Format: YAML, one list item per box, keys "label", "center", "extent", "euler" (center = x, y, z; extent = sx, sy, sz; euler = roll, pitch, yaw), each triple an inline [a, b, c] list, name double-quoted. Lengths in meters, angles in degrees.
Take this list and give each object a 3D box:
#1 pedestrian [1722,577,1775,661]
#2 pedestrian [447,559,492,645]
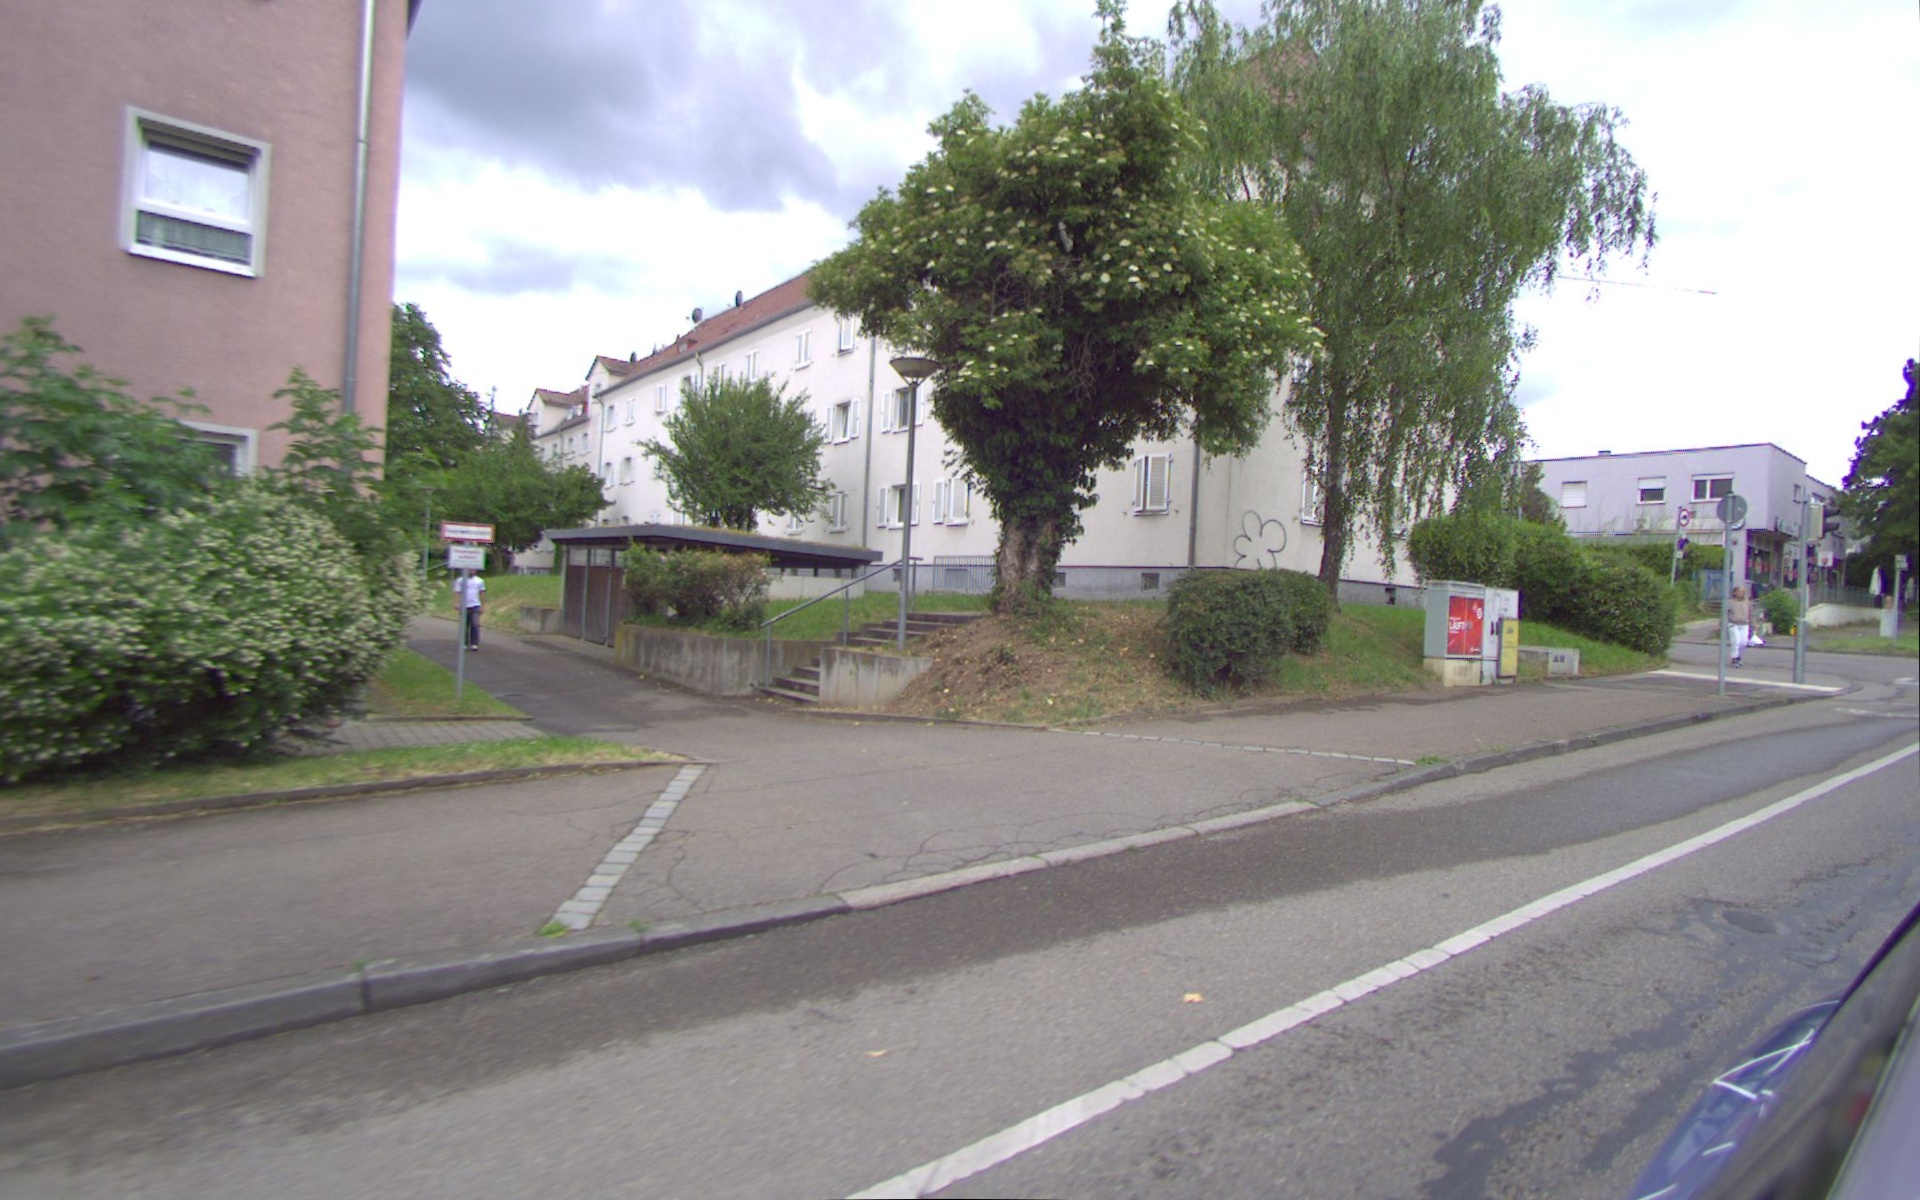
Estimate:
- label: "pedestrian"
  center: [16.591, 0.391, 21.296]
  extent: [0.564, 1.706, 0.659]
  euler: [4, 1, -37]
- label: "pedestrian"
  center: [-9.754, 0.040, 20.122]
  extent: [0.675, 1.673, 0.569]
  euler: [1, 0, -41]
